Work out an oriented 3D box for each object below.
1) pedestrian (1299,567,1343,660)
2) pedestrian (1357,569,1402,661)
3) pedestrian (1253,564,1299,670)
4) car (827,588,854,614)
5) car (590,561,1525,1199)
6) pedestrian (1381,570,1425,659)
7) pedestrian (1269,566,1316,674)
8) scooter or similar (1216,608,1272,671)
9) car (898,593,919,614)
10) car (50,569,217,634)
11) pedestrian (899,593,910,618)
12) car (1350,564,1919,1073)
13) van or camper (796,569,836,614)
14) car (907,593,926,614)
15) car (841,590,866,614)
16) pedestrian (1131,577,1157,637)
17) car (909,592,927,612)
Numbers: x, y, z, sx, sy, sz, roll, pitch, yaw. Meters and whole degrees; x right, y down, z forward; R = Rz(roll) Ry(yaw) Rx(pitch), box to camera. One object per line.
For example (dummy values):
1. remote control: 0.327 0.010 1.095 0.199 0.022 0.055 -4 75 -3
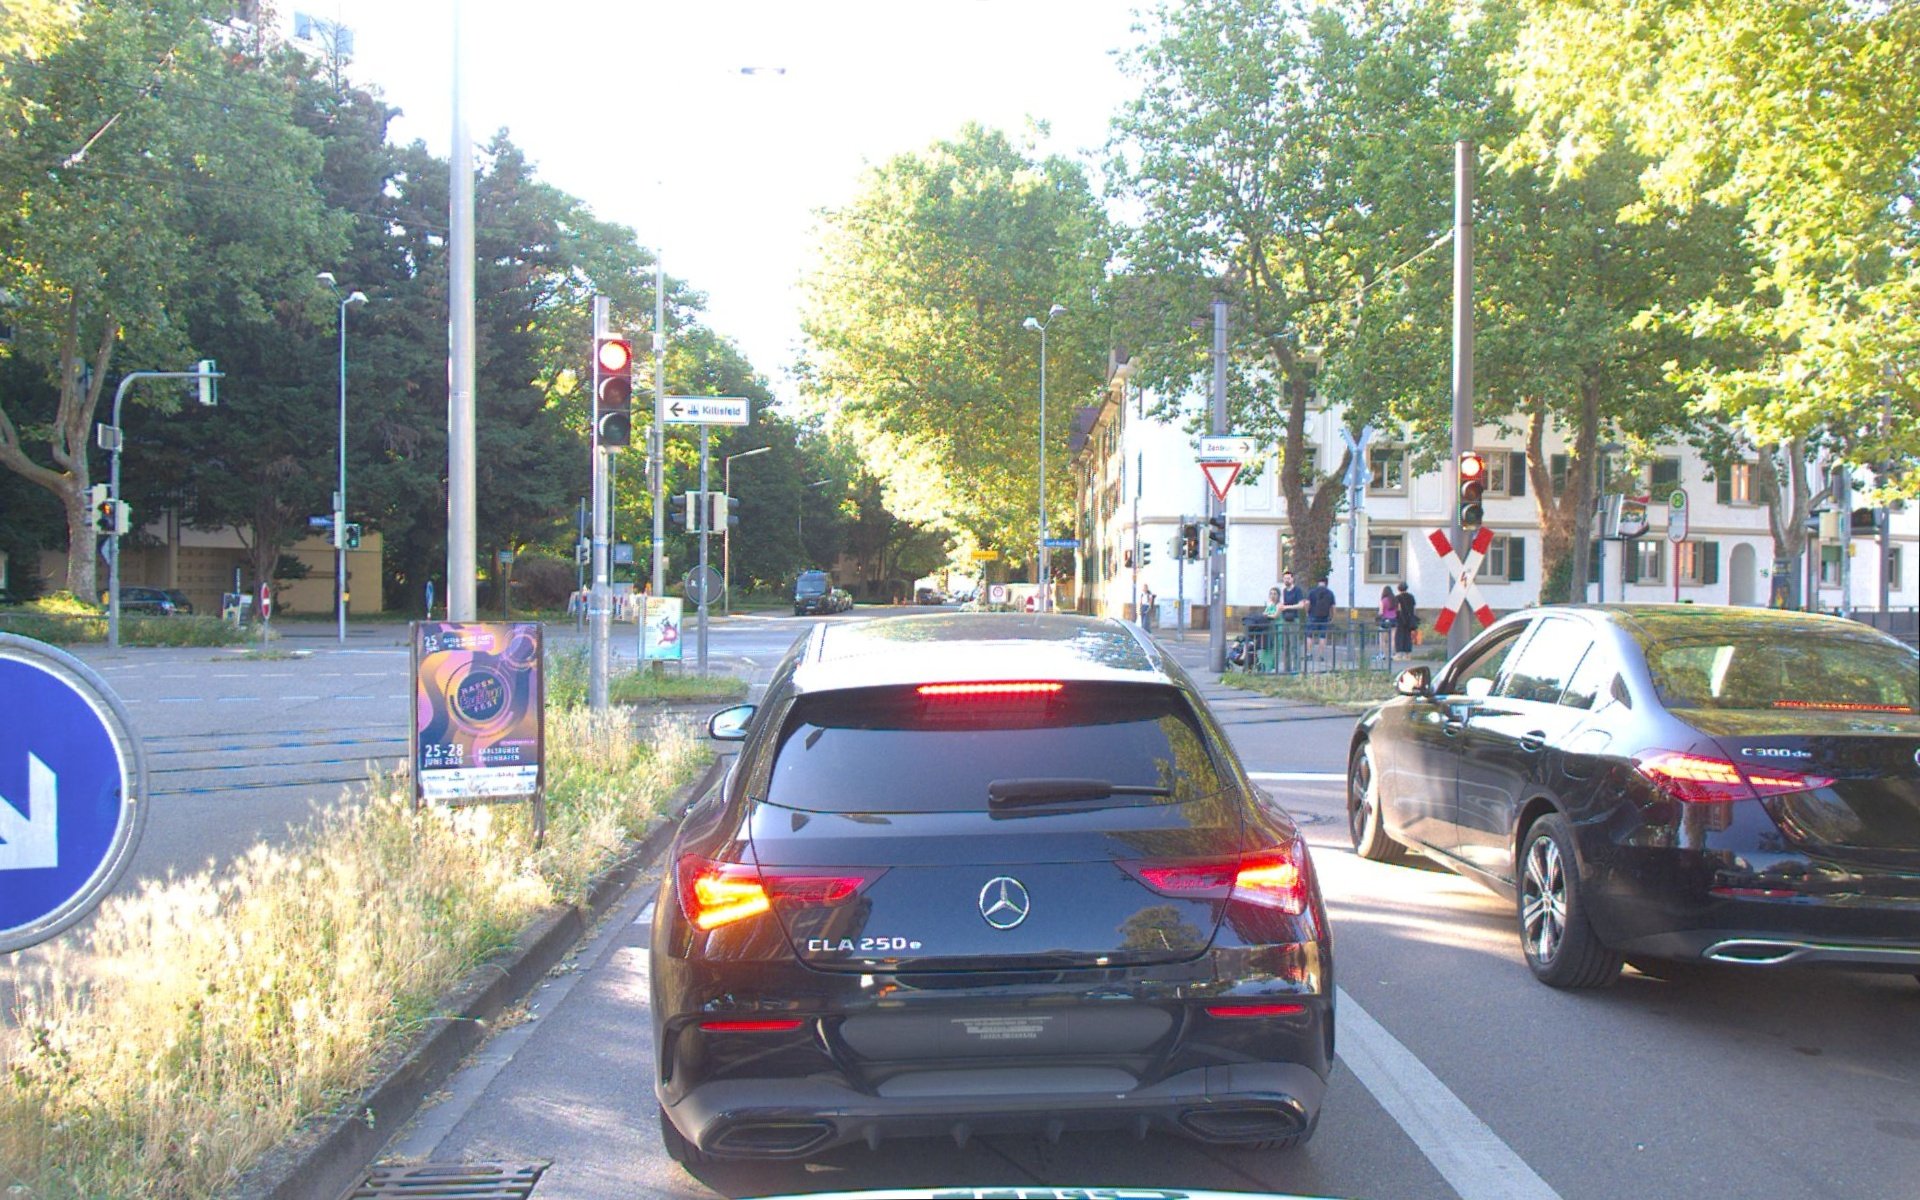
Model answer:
1. pedestrian: 7.729 0.286 35.412 0.691 1.951 0.838 1 -1 -4
2. pedestrian: 9.072 0.330 35.795 0.691 1.951 0.838 1 -1 -4
3. pedestrian: 5.916 0.308 30.969 0.669 1.951 0.706 1 -1 -5
4. car: -8.476 0.101 117.431 1.698 1.796 4.084 1 0 -1
5. car: 0.209 0.663 5.322 1.851 1.475 4.001 1 2 0
6. pedestrian: 9.862 0.317 36.807 0.691 1.951 0.838 1 -1 -4
7. pedestrian: 6.073 0.361 30.199 0.669 1.951 0.707 1 -1 -3
8. scooter or similar: 5.245 0.723 30.565 0.812 1.124 0.808 1 0 -6
9. car: -4.517 0.347 145.482 1.698 1.796 4.018 1 0 -1
10. car: -24.373 0.046 48.844 3.902 1.805 2.001 1 0 7
11. pedestrian: -4.354 0.453 129.947 0.692 1.951 0.837 1 -1 -11
12. car: 3.144 0.652 7.390 1.850 1.516 4.383 1 2 2
13. van or camper: -8.649 -0.483 99.608 1.953 2.586 4.650 1 0 -1
14. car: -3.942 0.315 150.312 1.698 1.796 4.018 1 0 -1
15. car: -8.123 0.144 126.271 1.698 1.796 3.970 1 0 -1
16. pedestrian: 6.104 0.229 54.768 0.691 1.951 0.838 1 -1 -4
17. car: -3.990 0.204 158.395 1.698 1.796 4.018 1 0 -1
